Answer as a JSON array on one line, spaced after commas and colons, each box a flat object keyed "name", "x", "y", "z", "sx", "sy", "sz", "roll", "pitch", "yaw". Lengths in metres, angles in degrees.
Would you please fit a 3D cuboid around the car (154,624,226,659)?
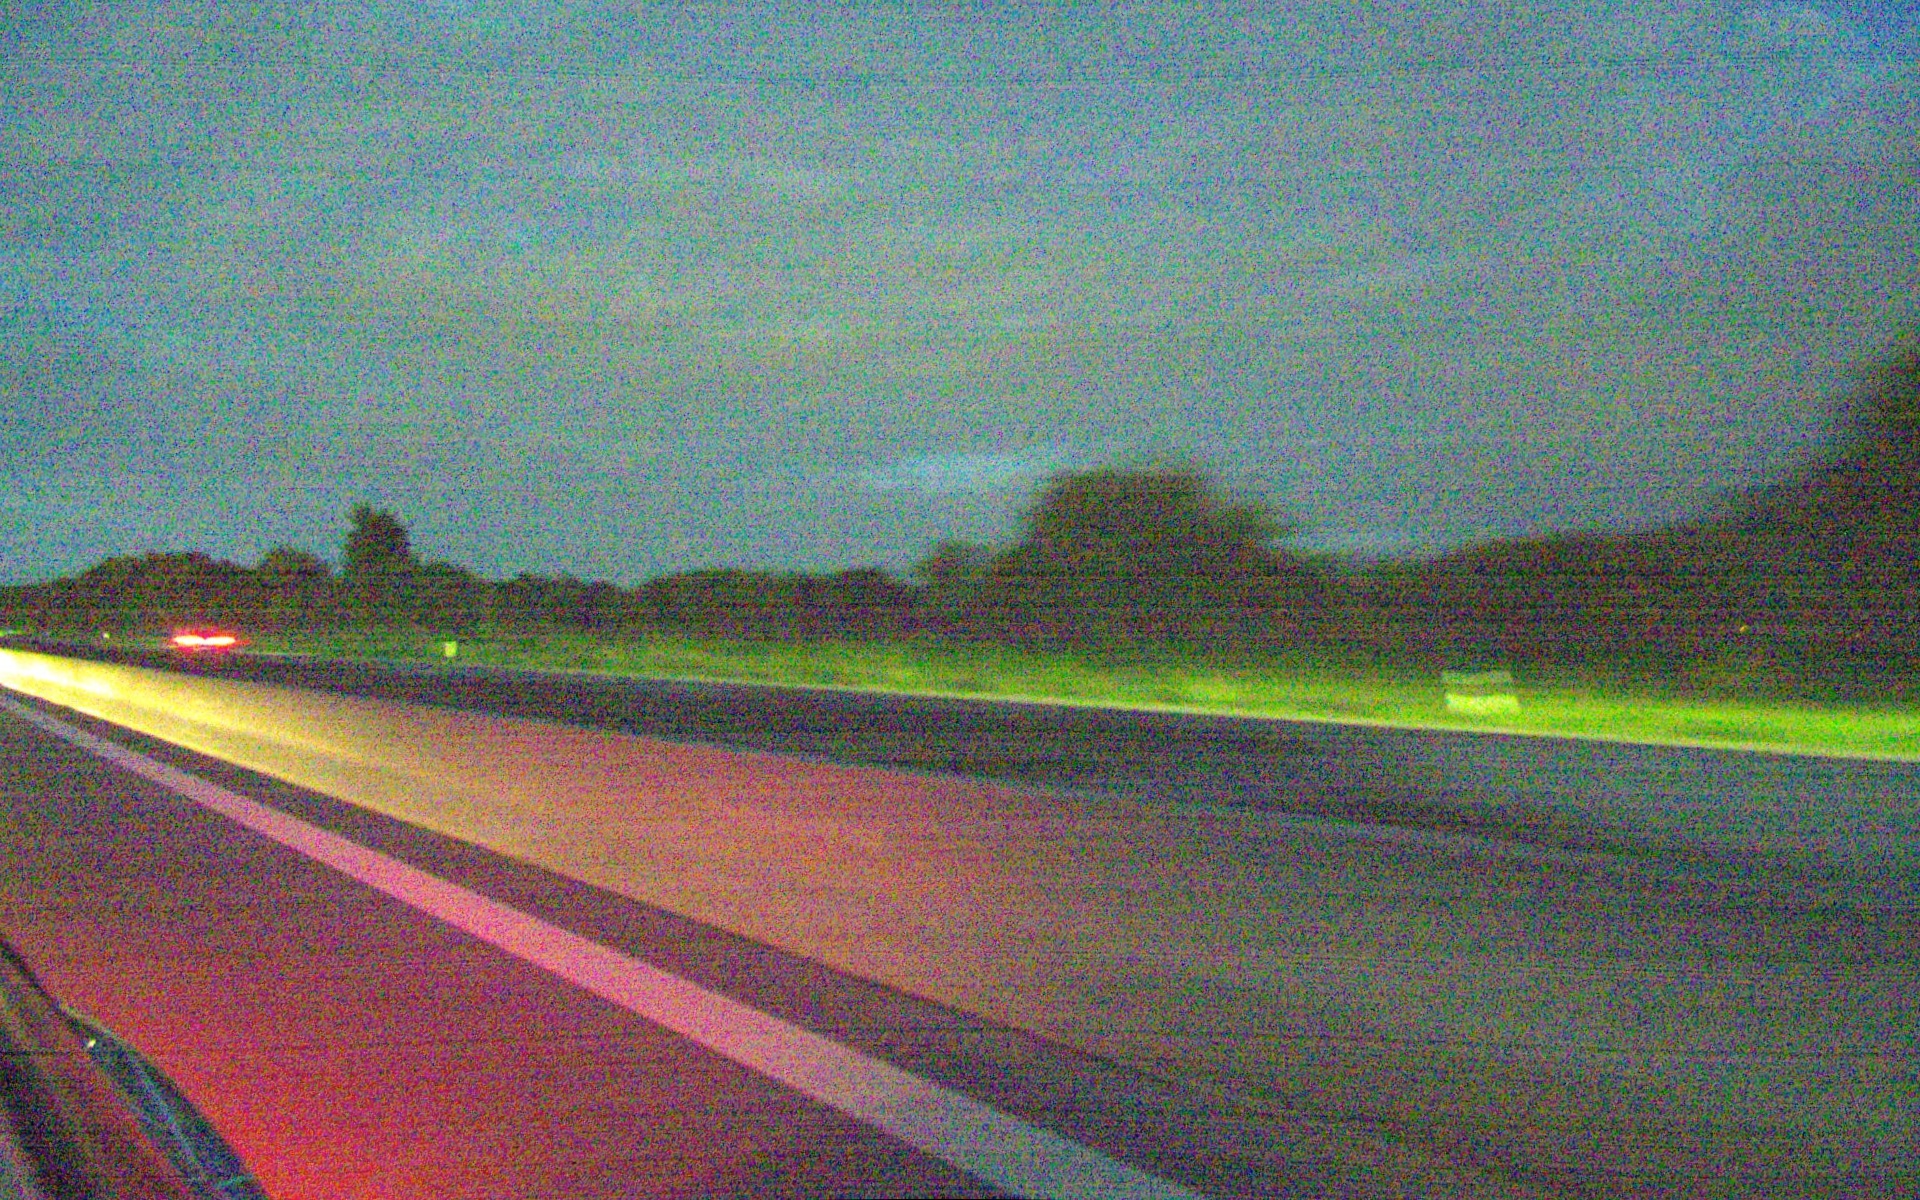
[{"name": "car", "x": -38.465, "y": 2.047, "z": 50.504, "sx": 5.296, "sy": 1.655, "sz": 1.883, "roll": -2, "pitch": -3, "yaw": 42}]
